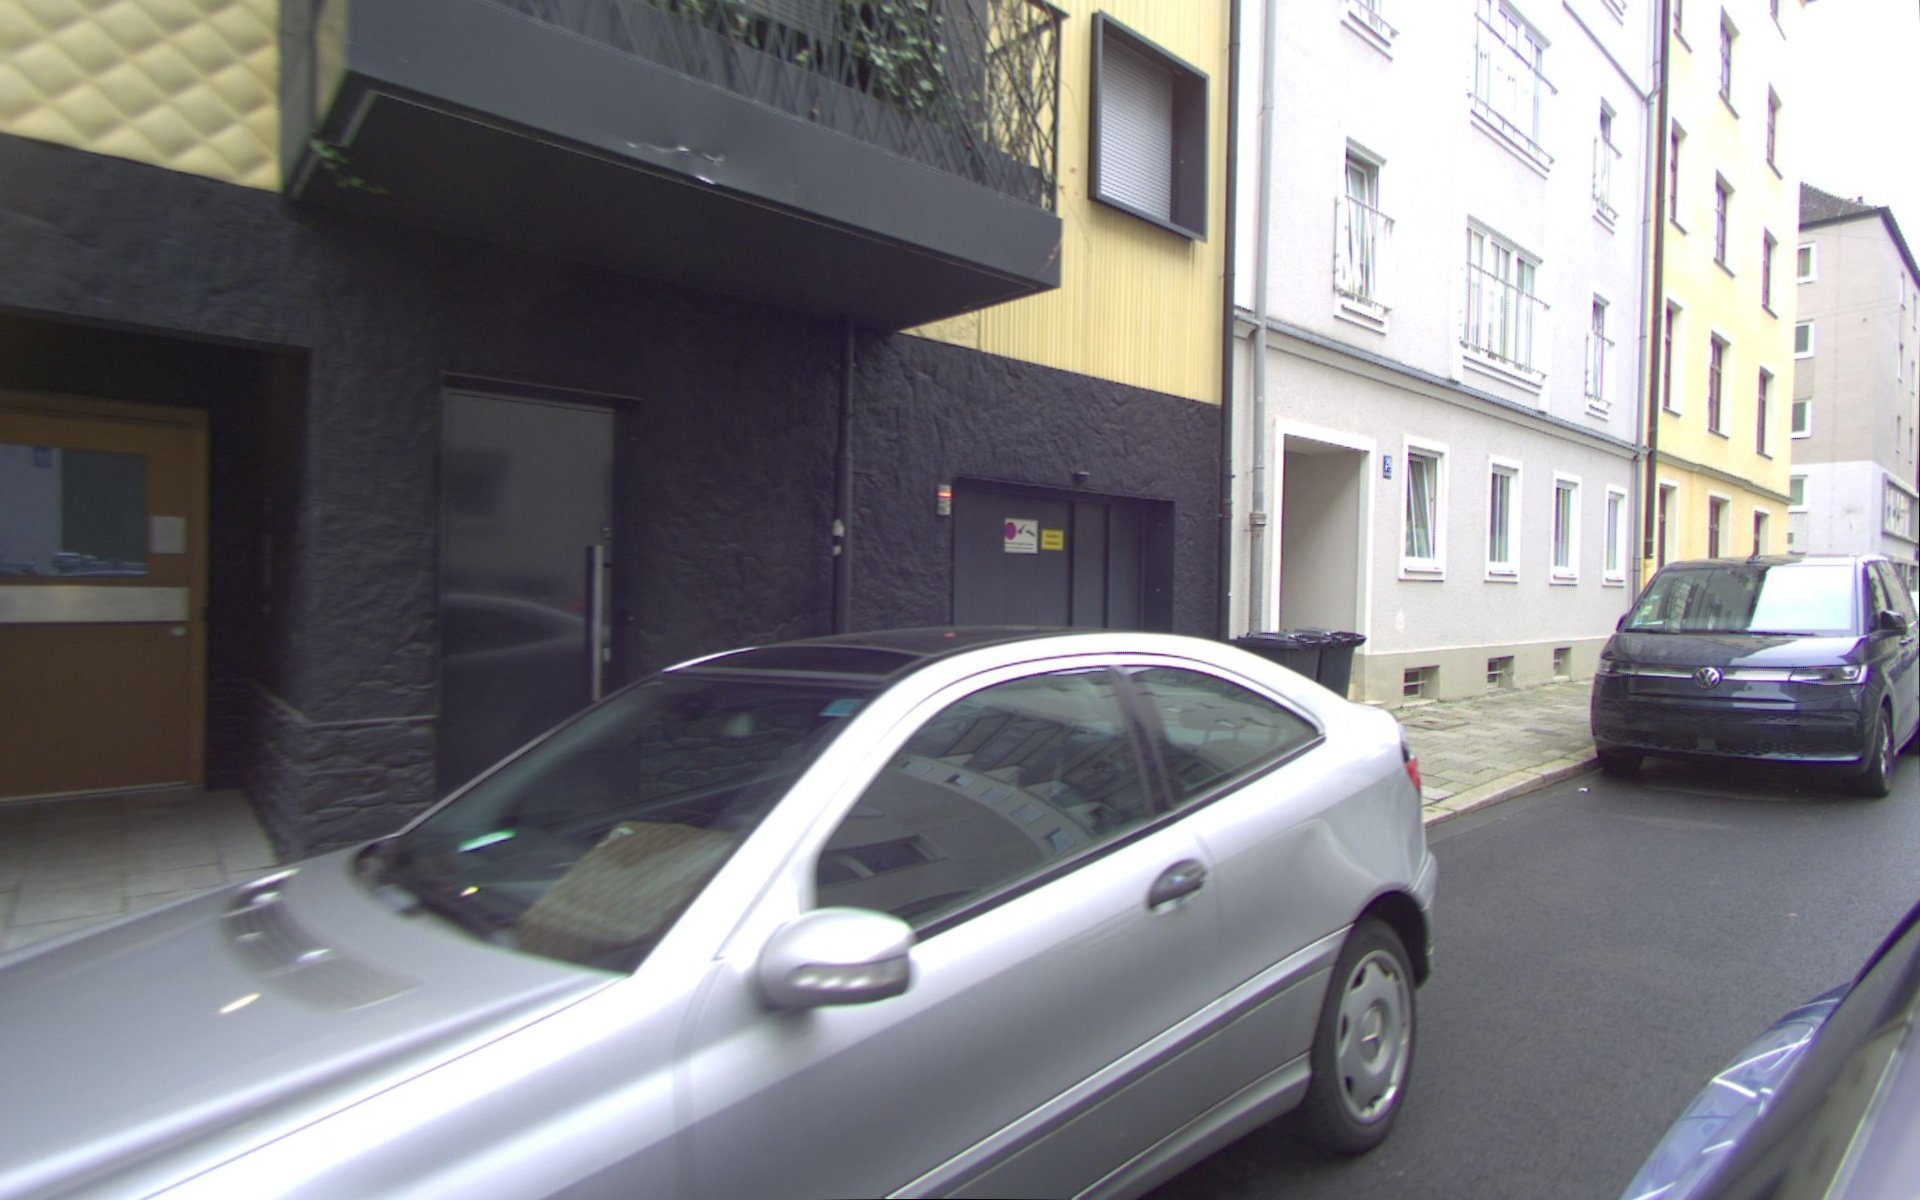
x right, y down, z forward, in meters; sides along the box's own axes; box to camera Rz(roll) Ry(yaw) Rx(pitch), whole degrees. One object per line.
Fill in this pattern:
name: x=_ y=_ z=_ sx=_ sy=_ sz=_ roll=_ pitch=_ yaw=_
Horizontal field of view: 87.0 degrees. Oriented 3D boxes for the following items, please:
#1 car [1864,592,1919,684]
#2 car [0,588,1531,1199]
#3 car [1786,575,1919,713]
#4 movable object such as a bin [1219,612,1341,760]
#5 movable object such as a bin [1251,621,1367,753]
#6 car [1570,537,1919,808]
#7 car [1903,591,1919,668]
car: x=17.614 y=0.641 z=18.108 sx=3.790 sy=1.523 sz=1.689 roll=0 pitch=2 yaw=-42
car: x=-0.226 y=0.718 z=2.586 sx=4.131 sy=1.447 sz=1.737 roll=0 pitch=2 yaw=-43
car: x=13.377 y=0.536 z=14.282 sx=4.463 sy=1.695 sz=1.965 roll=0 pitch=2 yaw=-42
movable object such as a bin: x=2.708 y=0.694 z=8.581 sx=0.564 sy=1.153 sz=0.796 roll=0 pitch=1 yaw=-42
movable object such as a bin: x=3.078 y=0.738 z=8.947 sx=0.537 sy=1.067 sz=0.796 roll=0 pitch=1 yaw=-42
car: x=7.657 y=0.486 z=9.402 sx=5.094 sy=1.862 sz=1.985 roll=0 pitch=0 yaw=-42
car: x=20.965 y=0.609 z=20.986 sx=3.790 sy=1.523 sz=1.689 roll=0 pitch=2 yaw=-42
